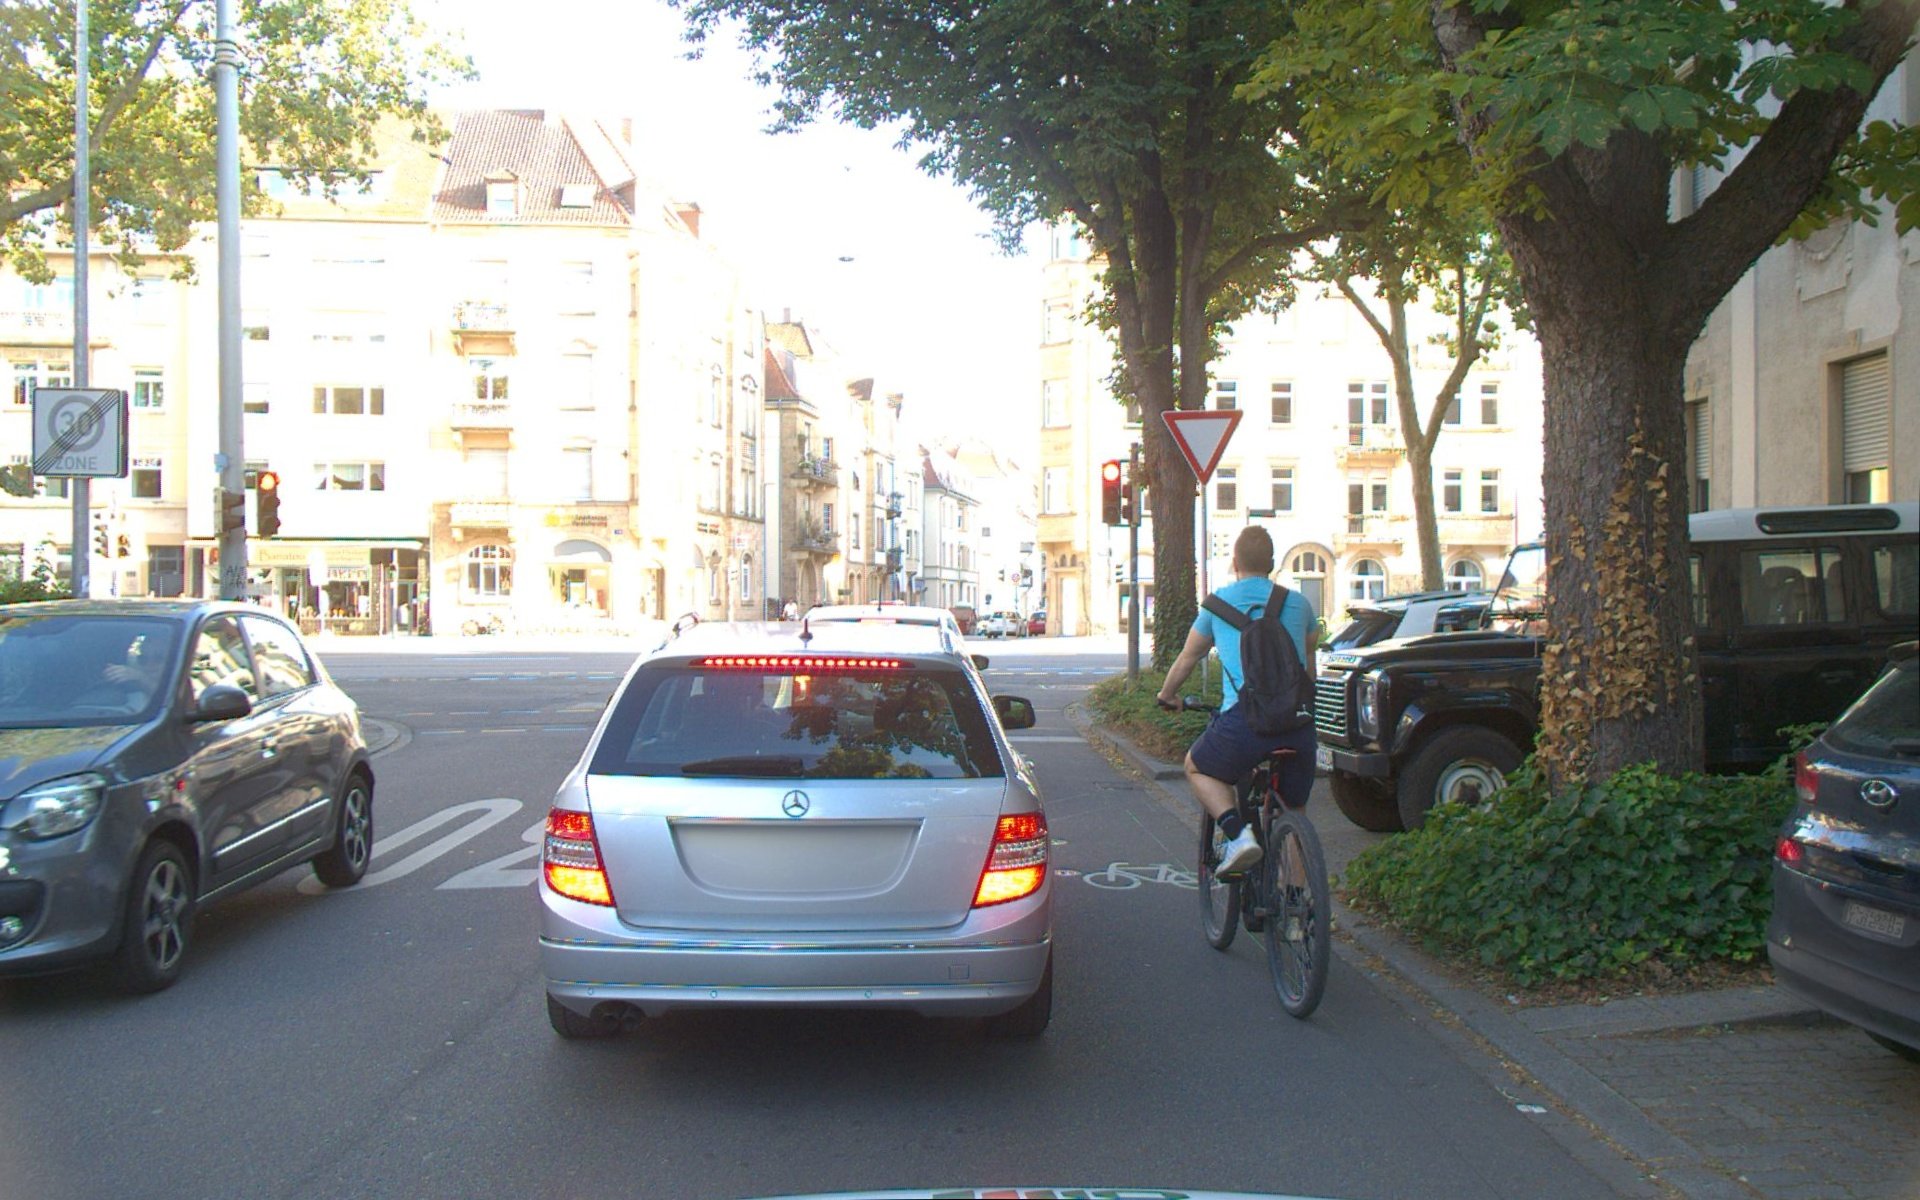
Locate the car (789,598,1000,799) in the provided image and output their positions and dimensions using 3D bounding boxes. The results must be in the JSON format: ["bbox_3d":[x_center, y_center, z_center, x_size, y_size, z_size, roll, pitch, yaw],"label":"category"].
[{"bbox_3d":[-0.542,0.707,13.681,1.502,1.415,3.597,0,0,-2],"label":"car"}]

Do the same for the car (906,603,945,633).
[{"bbox_3d":[-2.118,1.107,102.368,1.615,1.814,3.866,0,-1,10],"label":"car"}]

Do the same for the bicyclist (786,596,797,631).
[{"bbox_3d":[-7.440,0.580,73.172,0.457,1.541,0.655,0,0,-4],"label":"bicyclist"}]

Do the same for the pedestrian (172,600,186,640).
[{"bbox_3d":[-29.943,0.773,63.399,0.466,1.537,0.428,0,0,-21],"label":"pedestrian"}]

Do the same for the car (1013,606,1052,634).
[{"bbox_3d":[4.482,1.197,102.109,1.684,1.503,4.004,-4,0,11],"label":"car"}]

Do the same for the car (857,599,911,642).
[{"bbox_3d":[-3.623,0.966,79.701,1.896,1.993,4.153,0,0,7],"label":"car"}]

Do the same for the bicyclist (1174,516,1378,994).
[{"bbox_3d":[1.253,0.591,6.695,0.633,1.806,0.830,1,-1,-1],"label":"bicyclist"}]

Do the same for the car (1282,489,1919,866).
[{"bbox_3d":[4.416,0.401,10.227,4.402,1.990,1.791,-2,0,-4],"label":"car"}]

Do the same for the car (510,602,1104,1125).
[{"bbox_3d":[-0.524,0.759,6.444,1.657,1.454,3.490,1,0,-3],"label":"car"}]

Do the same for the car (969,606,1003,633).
[{"bbox_3d":[1.766,1.295,111.099,1.650,1.753,4.003,0,0,10],"label":"car"}]

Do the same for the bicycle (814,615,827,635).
[{"bbox_3d":[-6.162,1.112,73.124,0.557,0.849,1.564,0,0,-4],"label":"bicycle"}]

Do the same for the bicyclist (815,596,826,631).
[{"bbox_3d":[-6.171,0.577,73.200,0.457,1.547,0.693,0,0,-4],"label":"bicyclist"}]

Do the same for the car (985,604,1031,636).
[{"bbox_3d":[2.506,1.009,85.895,1.684,1.504,4.004,-2,0,11],"label":"car"}]

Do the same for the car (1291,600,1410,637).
[{"bbox_3d":[11.831,0.564,50.237,3.296,1.087,1.380,0,0,-2],"label":"car"}]

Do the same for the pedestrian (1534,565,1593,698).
[{"bbox_3d":[8.607,0.445,23.598,0.619,1.877,0.574,0,0,-5],"label":"pedestrian"}]

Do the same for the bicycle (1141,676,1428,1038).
[{"bbox_3d":[1.233,0.936,6.716,0.727,1.137,2.013,1,0,-1],"label":"bicycle"}]

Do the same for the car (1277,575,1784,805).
[{"bbox_3d":[4.454,0.657,13.196,3.415,1.614,1.708,-1,0,-7],"label":"car"}]

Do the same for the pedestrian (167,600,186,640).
[{"bbox_3d":[-30.317,0.771,63.984,0.498,1.537,0.536,0,0,-5],"label":"pedestrian"}]

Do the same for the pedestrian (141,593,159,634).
[{"bbox_3d":[-30.627,0.511,62.523,0.557,1.537,0.499,0,0,-20],"label":"pedestrian"}]

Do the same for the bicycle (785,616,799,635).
[{"bbox_3d":[-7.433,1.122,73.185,0.557,0.849,1.564,0,0,-4],"label":"bicycle"}]

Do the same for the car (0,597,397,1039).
[{"bbox_3d":[-3.921,0.785,7.536,1.583,1.528,3.590,-2,0,-3],"label":"car"}]

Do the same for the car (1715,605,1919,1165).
[{"bbox_3d":[4.306,0.689,4.572,3.675,1.446,1.627,-2,-1,-4],"label":"car"}]
